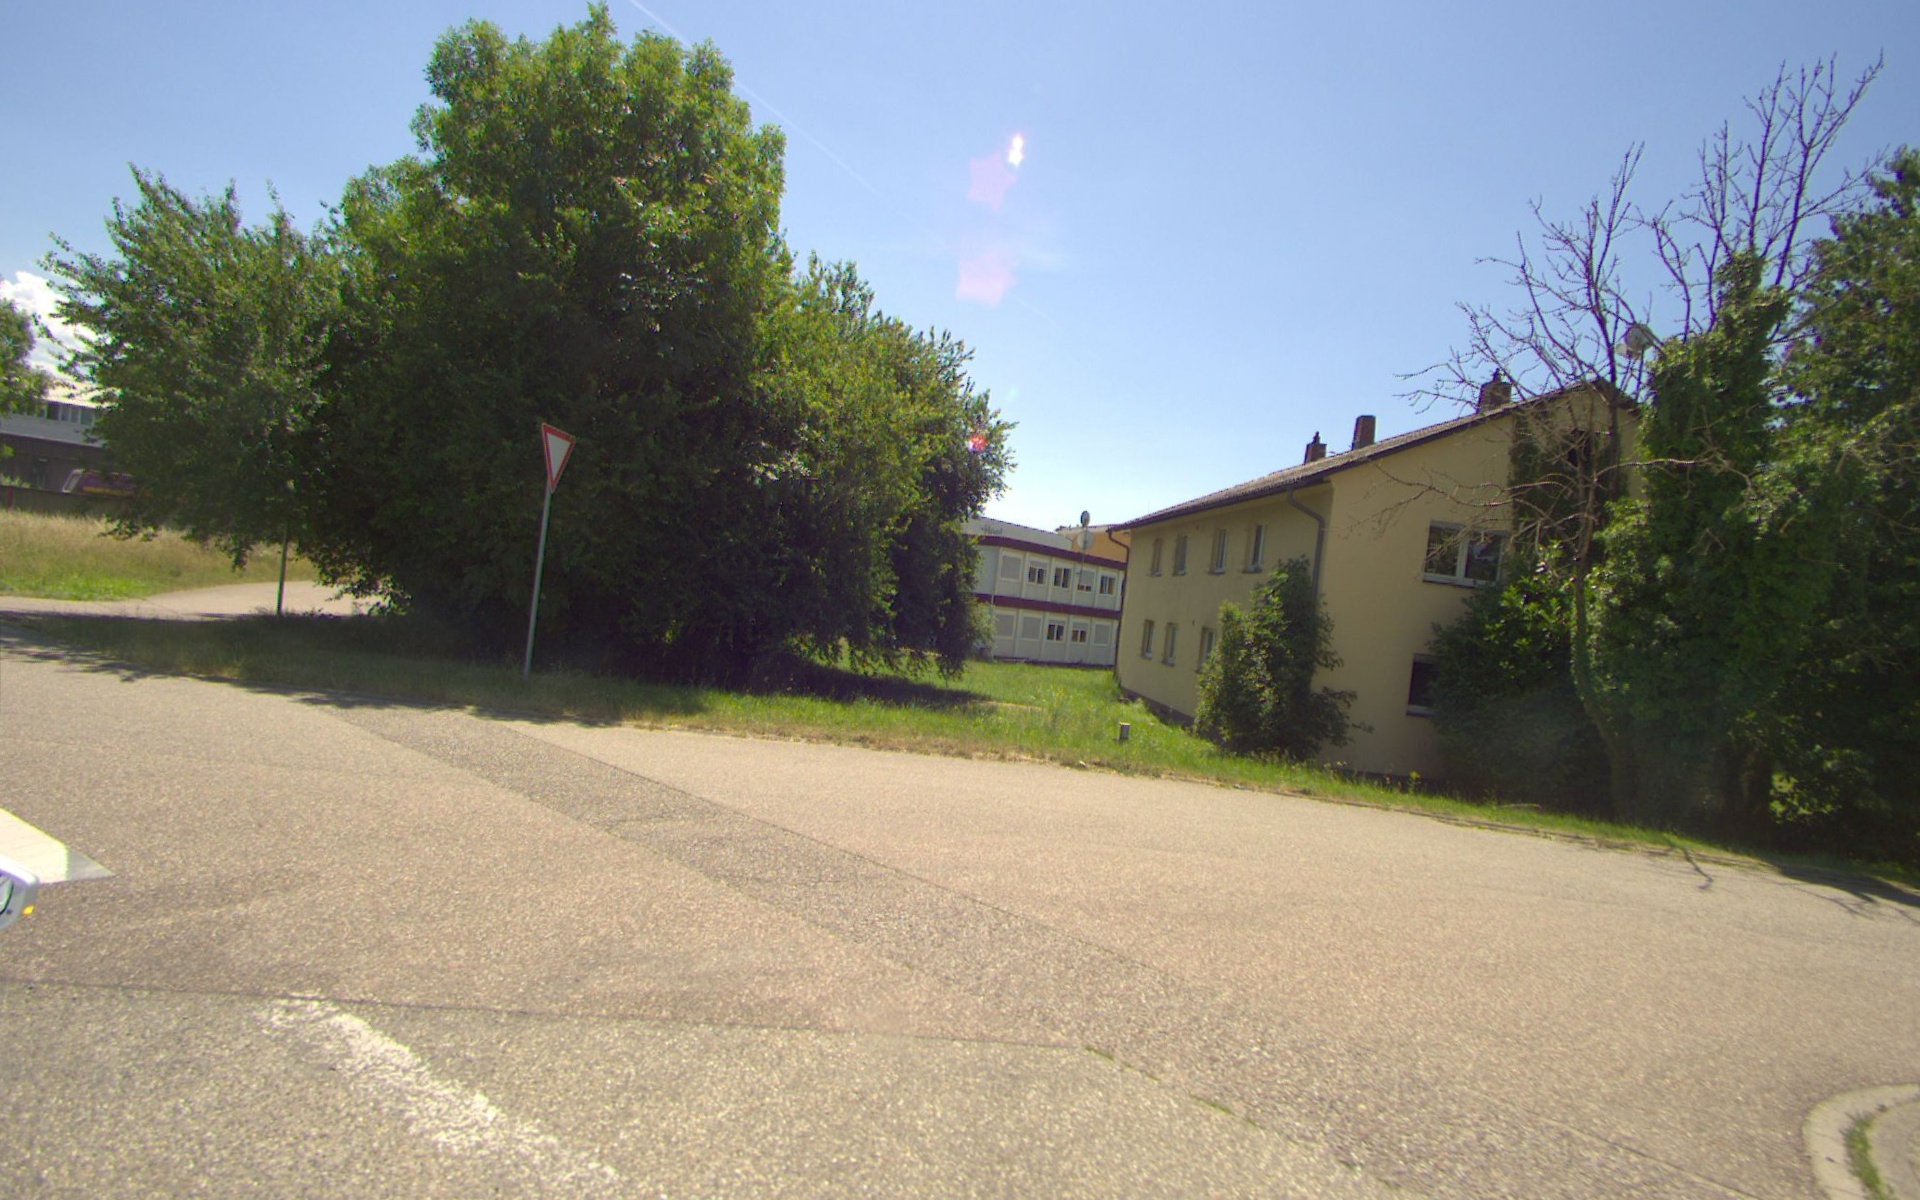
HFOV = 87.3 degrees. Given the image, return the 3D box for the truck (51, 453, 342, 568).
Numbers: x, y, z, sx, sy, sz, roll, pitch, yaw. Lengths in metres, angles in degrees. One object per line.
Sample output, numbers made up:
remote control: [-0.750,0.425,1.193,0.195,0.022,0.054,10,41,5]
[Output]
truck: [-40.201,-4.528,53.671,2.960,4.231,11.769,6,-1,36]

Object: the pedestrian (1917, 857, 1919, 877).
pedestrian: [13.777,3.175,13.718,0.838,1.412,0.678,12,6,44]
